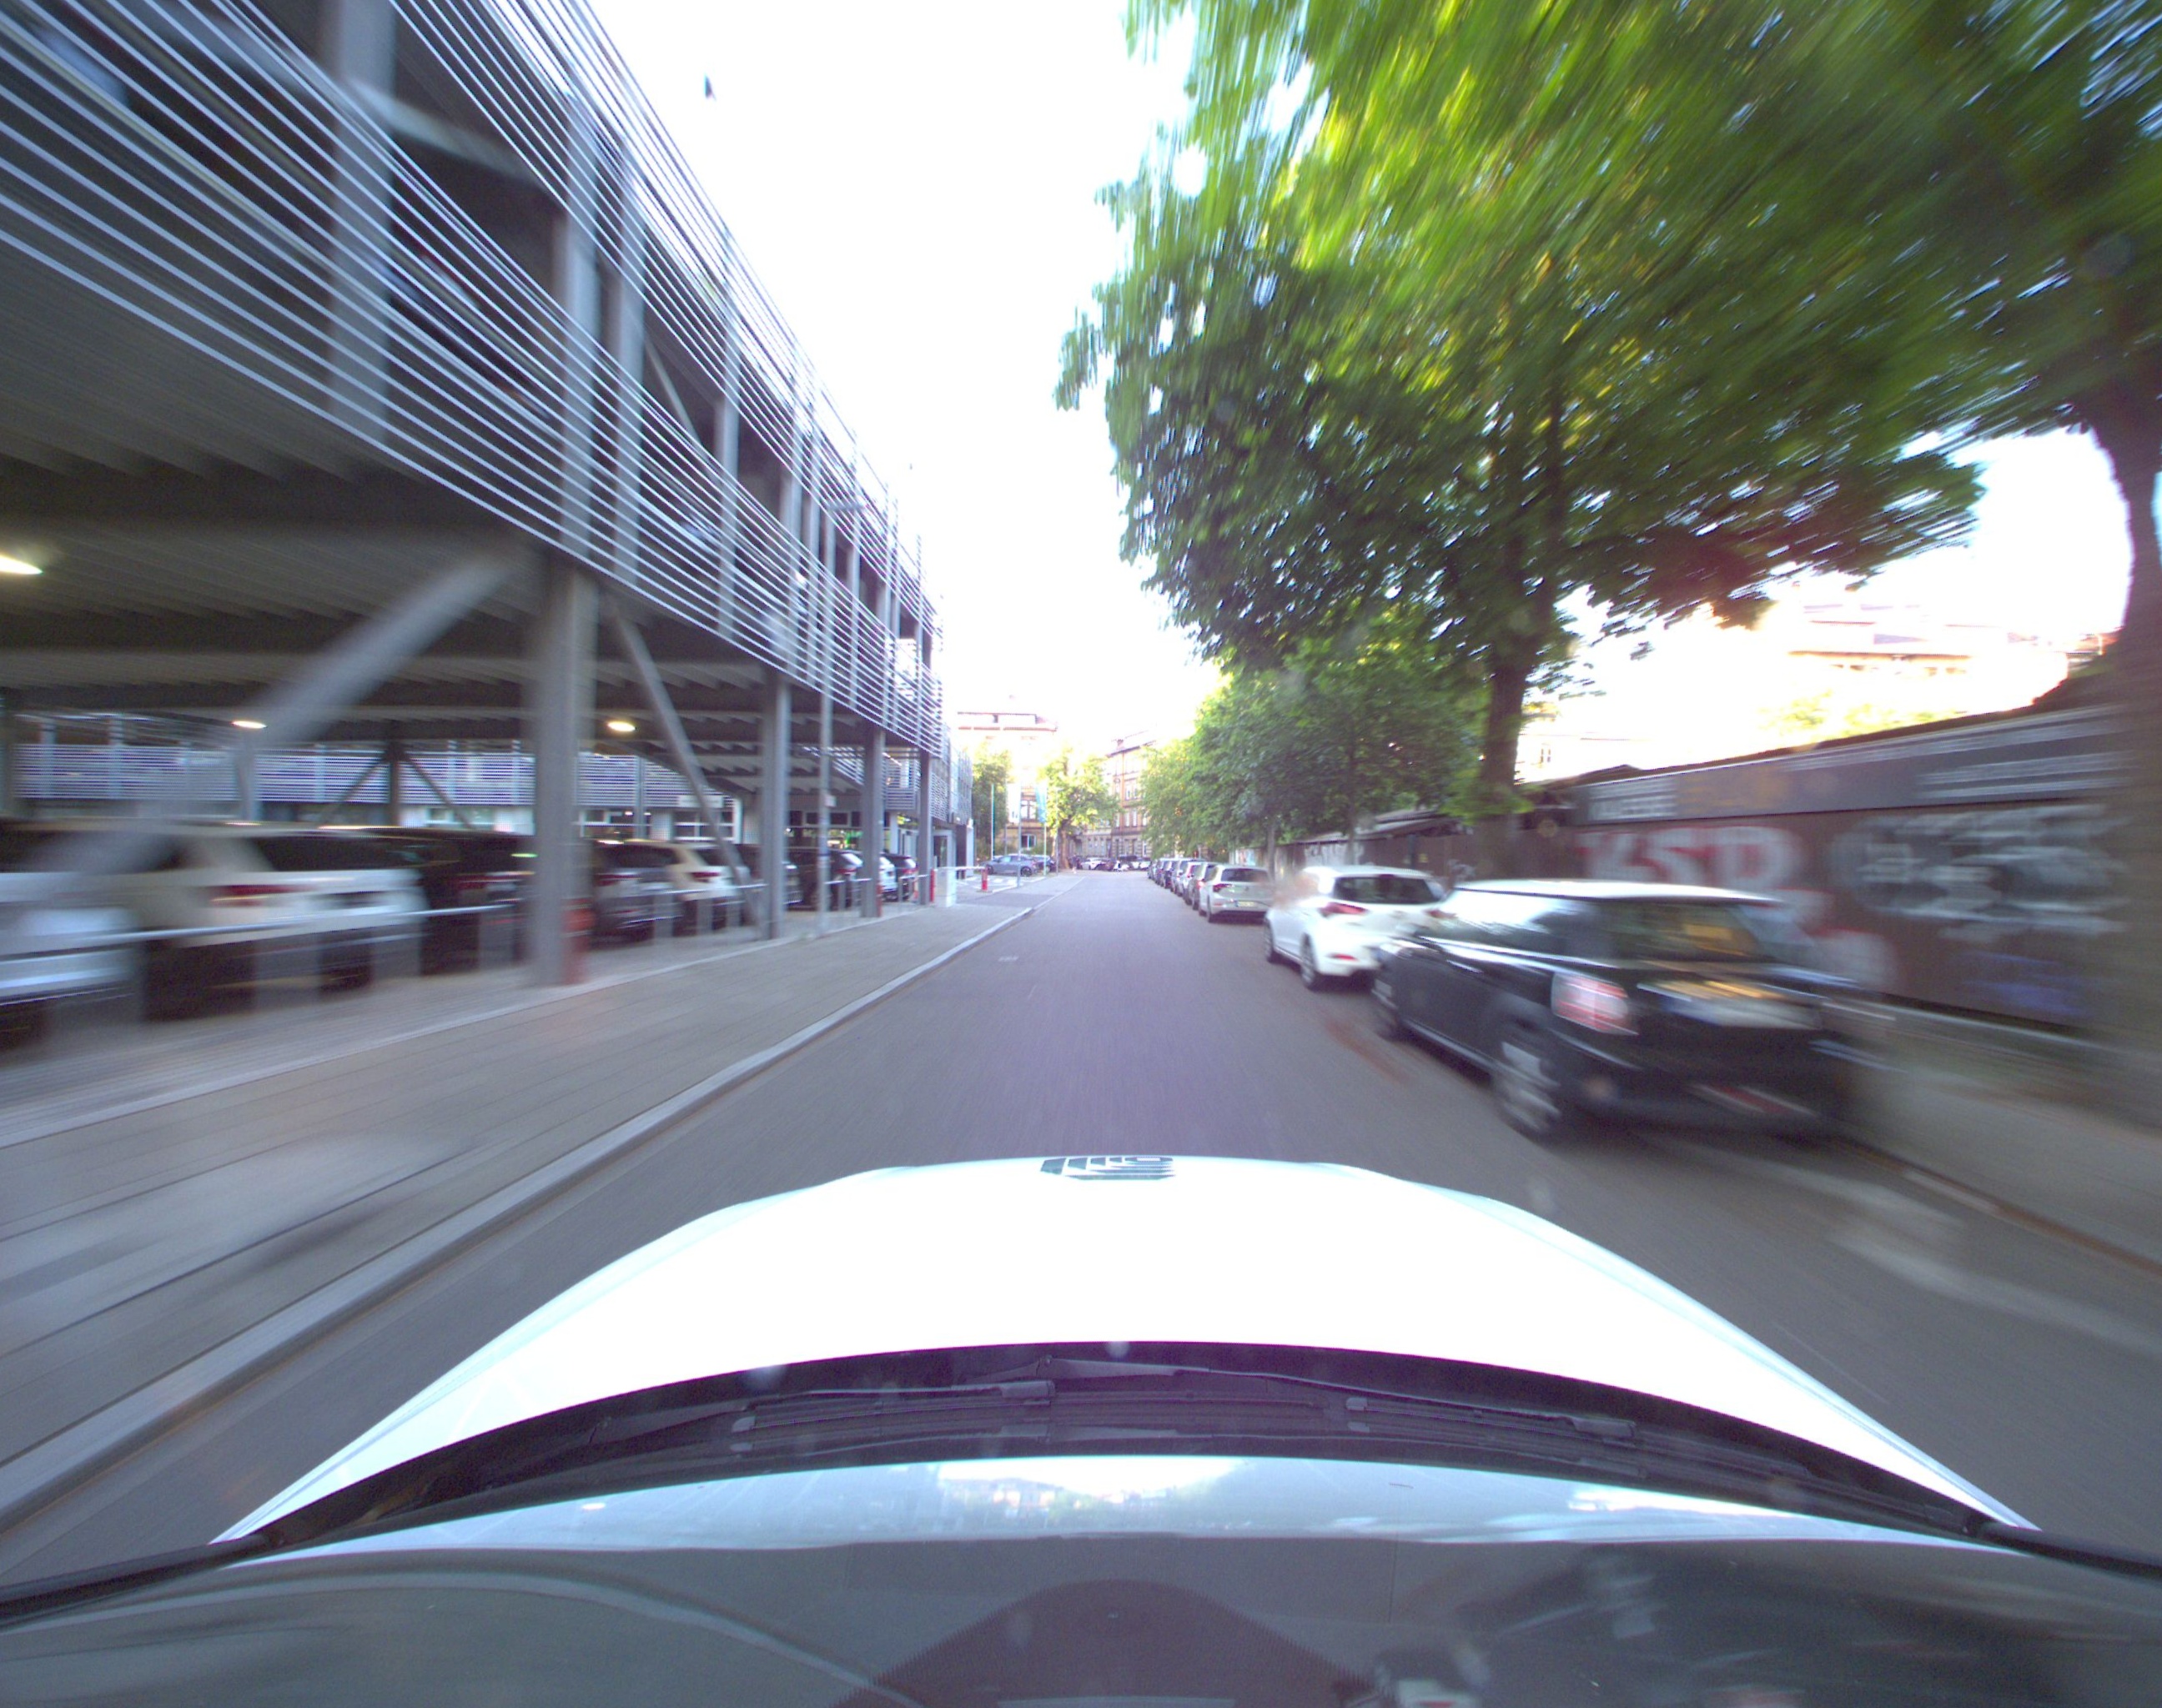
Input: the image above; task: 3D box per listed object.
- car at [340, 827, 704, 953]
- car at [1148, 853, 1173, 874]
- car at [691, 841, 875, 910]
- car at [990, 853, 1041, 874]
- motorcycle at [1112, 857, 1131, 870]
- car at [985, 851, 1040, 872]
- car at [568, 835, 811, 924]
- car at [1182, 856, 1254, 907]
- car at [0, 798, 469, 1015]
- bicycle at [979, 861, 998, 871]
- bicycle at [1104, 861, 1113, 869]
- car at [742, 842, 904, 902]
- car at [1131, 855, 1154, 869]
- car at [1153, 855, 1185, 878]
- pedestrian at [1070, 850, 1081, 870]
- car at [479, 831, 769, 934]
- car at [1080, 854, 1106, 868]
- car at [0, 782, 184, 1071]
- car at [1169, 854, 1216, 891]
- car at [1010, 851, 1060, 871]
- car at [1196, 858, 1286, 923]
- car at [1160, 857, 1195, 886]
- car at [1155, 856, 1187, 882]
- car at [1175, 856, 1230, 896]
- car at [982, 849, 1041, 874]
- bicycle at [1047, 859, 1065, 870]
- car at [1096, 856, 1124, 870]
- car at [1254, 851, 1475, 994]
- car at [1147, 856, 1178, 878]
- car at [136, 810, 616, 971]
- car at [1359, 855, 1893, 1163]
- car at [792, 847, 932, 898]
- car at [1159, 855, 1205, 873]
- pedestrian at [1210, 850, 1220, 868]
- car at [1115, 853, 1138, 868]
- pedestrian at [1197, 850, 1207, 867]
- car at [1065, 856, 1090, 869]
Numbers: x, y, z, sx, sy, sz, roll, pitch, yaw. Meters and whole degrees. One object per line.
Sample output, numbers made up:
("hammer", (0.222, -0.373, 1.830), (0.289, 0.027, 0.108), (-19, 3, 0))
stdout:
("car", (-8.025, 0.470, 11.962), (4.085, 1.684, 1.862), (0, 1, 3))
("car", (6.135, 0.734, 63.200), (1.688, 1.571, 3.973), (0, 0, 2))
("car", (-7.706, 0.520, 21.315), (4.069, 1.684, 1.862), (0, 1, 3))
("car", (-5.419, 0.782, 67.349), (4.034, 1.475, 1.919), (2, 1, -2))
("motorcycle", (4.327, 0.992, 86.565), (1.930, 1.340, 0.576), (0, 1, -8))
("car", (-5.286, 0.567, 63.148), (4.053, 1.618, 1.765), (0, 1, 0))
("car", (-7.855, 0.475, 16.603), (4.047, 1.684, 1.862), (0, 1, 3))
("car", (4.309, 0.814, 26.218), (1.752, 1.454, 4.395), (0, 0, 3))
("car", (-8.244, 0.390, 7.354), (4.066, 1.684, 1.862), (0, 1, 3))
("bicycle", (-8.972, 1.162, 79.019), (1.862, 1.028, 0.442), (0, 1, -22))
("bicycle", (2.879, 1.159, 84.500), (0.421, 0.822, 1.470), (0, 1, 24))
("car", (-7.435, 0.486, 23.734), (4.062, 1.684, 1.862), (0, 1, 3))
("car", (7.123, 0.909, 94.816), (1.681, 1.525, 2.747), (1, 0, -22))
("car", (5.766, 0.813, 53.760), (1.690, 1.477, 3.558), (0, 0, -1))
("pedestrian", (-0.489, 0.533, 74.665), (0.737, 1.804, 1.115), (0, 1, -18))
("car", (-7.943, 0.451, 14.419), (4.085, 1.684, 1.862), (0, 1, 3))
("car", (1.376, 0.818, 94.570), (1.660, 1.431, 4.140), (1, 1, -19))
("car", (-8.293, 0.414, 4.820), (4.008, 1.684, 1.862), (0, 1, 3))
("car", (5.041, 0.794, 37.256), (1.752, 1.604, 3.876), (0, 0, 2))
("car", (-4.443, 0.672, 78.808), (4.819, 1.732, 1.918), (1, 1, -4))
("car", (4.077, 0.874, 21.310), (1.752, 1.442, 4.008), (0, 1, 2))
("car", (5.196, 0.912, 44.122), (1.590, 1.477, 3.776), (0, 0, 2))
("car", (5.362, 0.869, 48.877), (1.688, 1.477, 4.120), (0, 0, 2))
("car", (4.753, 0.828, 32.219), (1.752, 1.441, 3.876), (0, 1, 2))
("car", (-5.084, 0.551, 59.902), (4.115, 1.618, 1.913), (2, 1, 0))
("bicycle", (-2.491, 1.069, 81.371), (1.678, 1.028, 0.442), (0, 1, -22))
("car", (3.211, 1.003, 89.912), (1.661, 1.431, 3.962), (1, 1, -21))
("car", (3.539, 0.745, 10.952), (1.715, 1.519, 4.028), (0, 1, 2))
("car", (5.768, 0.900, 58.172), (1.690, 1.477, 4.209), (0, 0, -2))
("car", (-8.048, 0.367, 9.581), (4.085, 1.684, 1.862), (0, 1, 3))
("car", (3.266, 0.762, 5.736), (1.557, 1.450, 3.455), (0, 1, 2))
("car", (-7.002, 0.602, 26.348), (3.973, 1.586, 1.860), (0, -2, 0))
("car", (8.713, 0.880, 69.926), (3.994, 1.466, 1.859), (0, 1, -44))
("pedestrian", (14.264, 0.528, 86.857), (0.774, 1.804, 0.840), (0, 1, -12))
("car", (5.529, 0.794, 98.368), (1.681, 1.782, 2.993), (1, 0, -22))
("pedestrian", (13.300, 0.491, 89.245), (0.843, 1.804, 0.771), (0, 1, -18))
("car", (-0.436, 1.006, 98.928), (1.661, 1.431, 3.868), (1, 1, -21))
